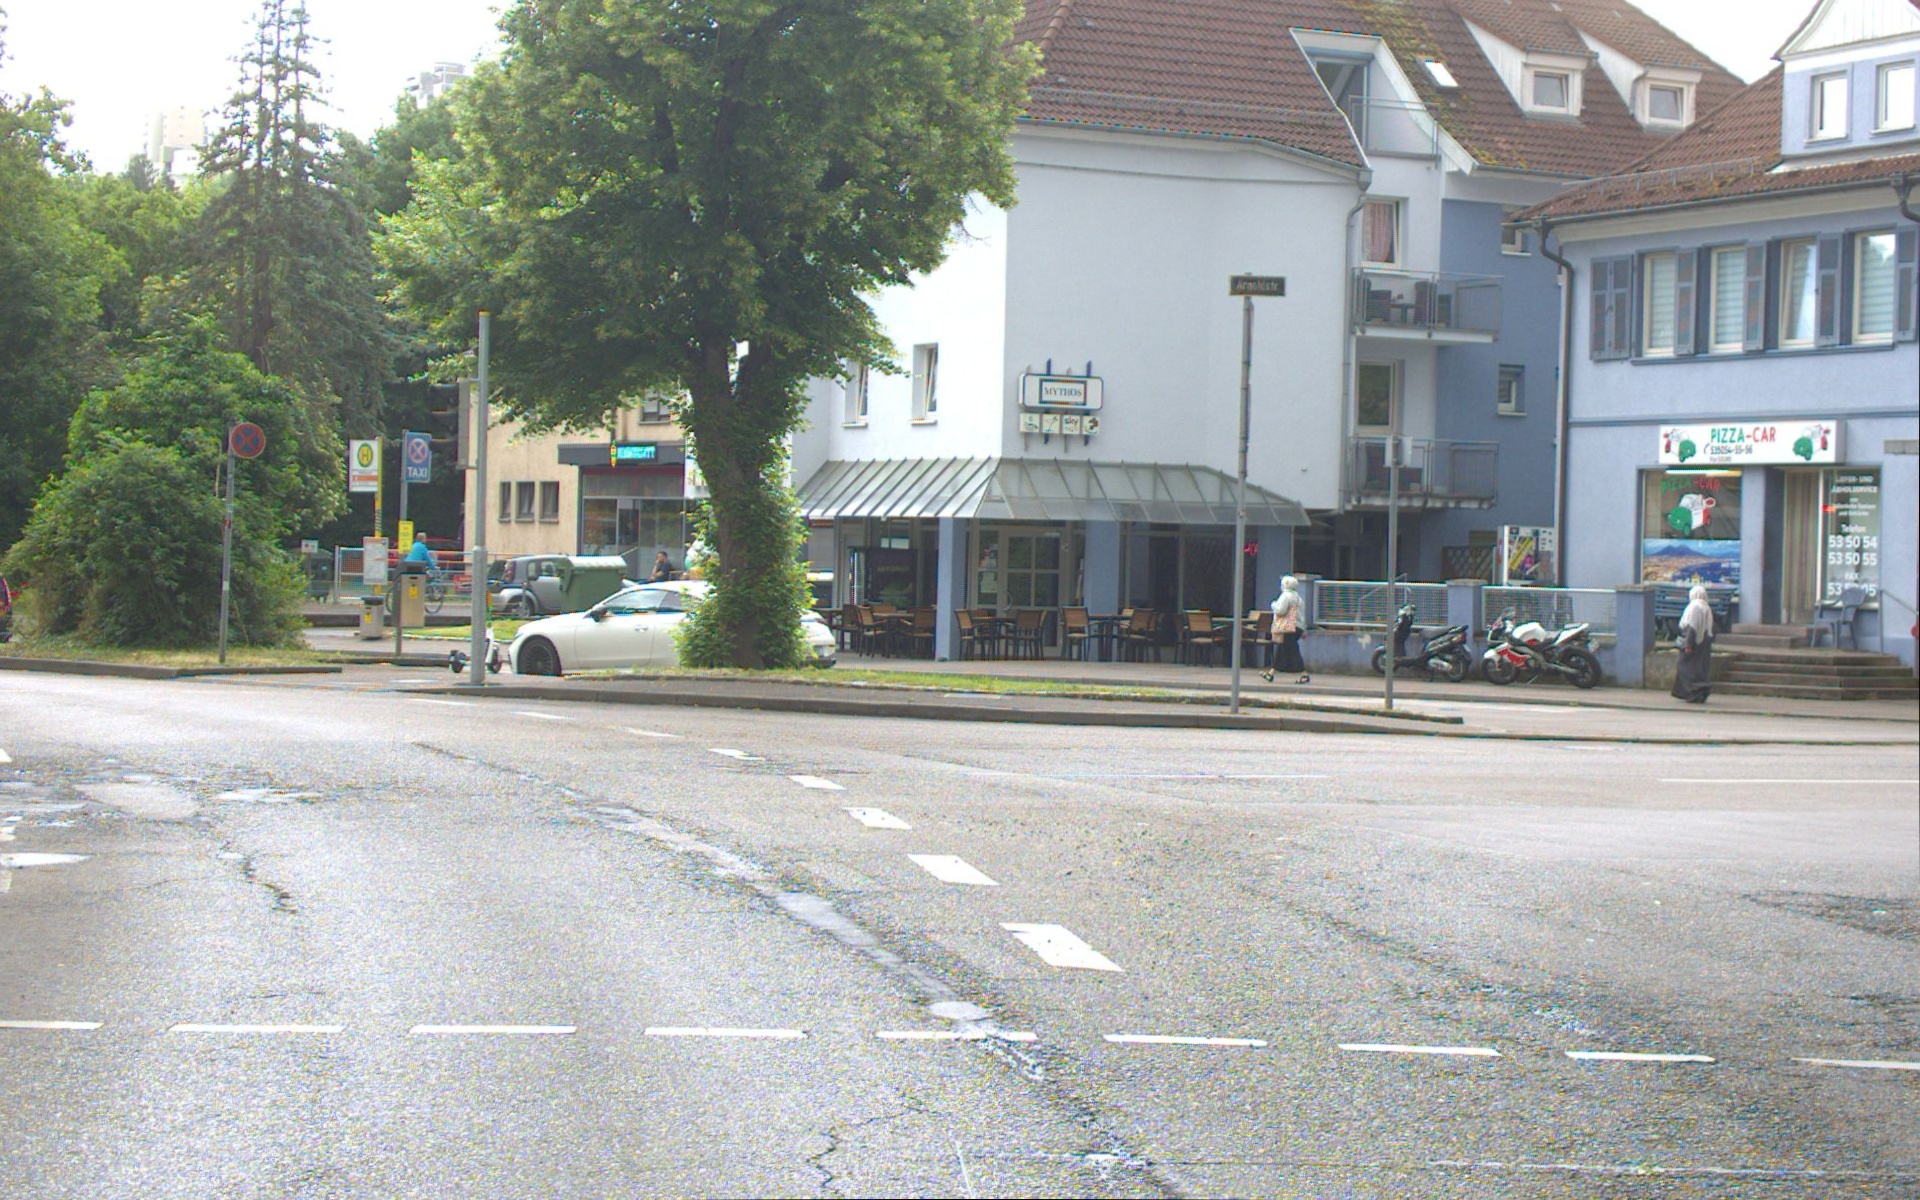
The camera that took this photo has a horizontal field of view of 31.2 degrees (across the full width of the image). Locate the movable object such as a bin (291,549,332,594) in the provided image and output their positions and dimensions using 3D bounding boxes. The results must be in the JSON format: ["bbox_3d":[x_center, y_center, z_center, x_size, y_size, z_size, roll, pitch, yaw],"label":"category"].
[{"bbox_3d":[-16.250,-0.718,86.157,0.950,1.111,0.383,1,1,-21],"label":"movable object such as a bin"}]

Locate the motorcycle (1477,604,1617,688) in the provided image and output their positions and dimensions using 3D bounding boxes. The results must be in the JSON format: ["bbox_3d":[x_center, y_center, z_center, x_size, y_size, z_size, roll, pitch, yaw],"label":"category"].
[{"bbox_3d":[8.255,0.640,48.371,1.798,1.118,0.693,2,1,38],"label":"motorcycle"}]

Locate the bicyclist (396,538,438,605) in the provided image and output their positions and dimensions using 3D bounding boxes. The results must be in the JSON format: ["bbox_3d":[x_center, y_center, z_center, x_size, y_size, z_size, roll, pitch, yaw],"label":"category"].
[{"bbox_3d":[-12.574,-0.660,79.644,0.599,1.536,0.738,2,1,43],"label":"bicyclist"}]

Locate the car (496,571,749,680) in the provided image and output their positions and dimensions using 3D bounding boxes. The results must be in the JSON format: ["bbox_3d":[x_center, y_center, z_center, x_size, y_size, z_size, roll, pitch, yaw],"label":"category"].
[{"bbox_3d":[-4.533,0.322,46.033,3.171,1.350,1.436,2,1,35],"label":"car"}]

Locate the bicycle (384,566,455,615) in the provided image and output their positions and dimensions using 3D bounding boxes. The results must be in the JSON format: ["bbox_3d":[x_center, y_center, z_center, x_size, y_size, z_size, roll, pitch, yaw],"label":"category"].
[{"bbox_3d":[-12.535,-0.210,79.701,0.603,1.108,1.576,2,1,43],"label":"bicycle"}]

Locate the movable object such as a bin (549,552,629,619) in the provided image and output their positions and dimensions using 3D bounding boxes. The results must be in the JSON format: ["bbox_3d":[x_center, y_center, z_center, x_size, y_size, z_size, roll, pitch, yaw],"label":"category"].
[{"bbox_3d":[-7.986,-0.313,73.965,1.440,1.404,0.967,1,1,-27],"label":"movable object such as a bin"}]

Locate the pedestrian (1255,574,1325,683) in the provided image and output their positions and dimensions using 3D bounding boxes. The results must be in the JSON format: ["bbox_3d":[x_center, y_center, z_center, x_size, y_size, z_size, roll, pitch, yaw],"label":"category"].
[{"bbox_3d":[4.747,0.404,49.479,0.707,1.539,0.677,2,1,40],"label":"pedestrian"}]

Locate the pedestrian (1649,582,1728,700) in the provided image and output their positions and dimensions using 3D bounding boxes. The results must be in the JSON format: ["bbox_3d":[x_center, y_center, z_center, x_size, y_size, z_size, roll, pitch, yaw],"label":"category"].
[{"bbox_3d":[9.682,0.535,45.701,0.768,1.539,0.677,1,1,39],"label":"pedestrian"}]

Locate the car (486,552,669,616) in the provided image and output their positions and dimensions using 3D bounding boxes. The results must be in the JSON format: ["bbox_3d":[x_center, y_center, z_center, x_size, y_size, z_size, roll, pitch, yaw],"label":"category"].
[{"bbox_3d":[-8.428,-0.354,75.862,3.733,1.340,1.434,1,1,-26],"label":"car"}]

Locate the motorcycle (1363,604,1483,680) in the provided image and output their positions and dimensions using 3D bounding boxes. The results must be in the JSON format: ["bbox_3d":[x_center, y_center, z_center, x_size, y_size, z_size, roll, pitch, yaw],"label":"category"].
[{"bbox_3d":[6.749,0.602,50.149,1.636,1.060,0.693,2,1,44],"label":"motorcycle"}]

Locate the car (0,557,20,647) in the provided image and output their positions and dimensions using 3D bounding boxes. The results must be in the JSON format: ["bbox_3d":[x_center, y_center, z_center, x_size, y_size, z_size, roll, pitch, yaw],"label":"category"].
[{"bbox_3d":[-16.516,-0.005,53.711,3.590,1.389,1.469,2,1,32],"label":"car"}]

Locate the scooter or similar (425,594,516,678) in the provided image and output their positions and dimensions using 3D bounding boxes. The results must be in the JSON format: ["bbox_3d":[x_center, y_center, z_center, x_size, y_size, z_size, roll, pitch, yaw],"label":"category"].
[{"bbox_3d":[-6.061,0.437,42.640,0.417,1.008,1.565,1,1,20],"label":"scooter or similar"}]
